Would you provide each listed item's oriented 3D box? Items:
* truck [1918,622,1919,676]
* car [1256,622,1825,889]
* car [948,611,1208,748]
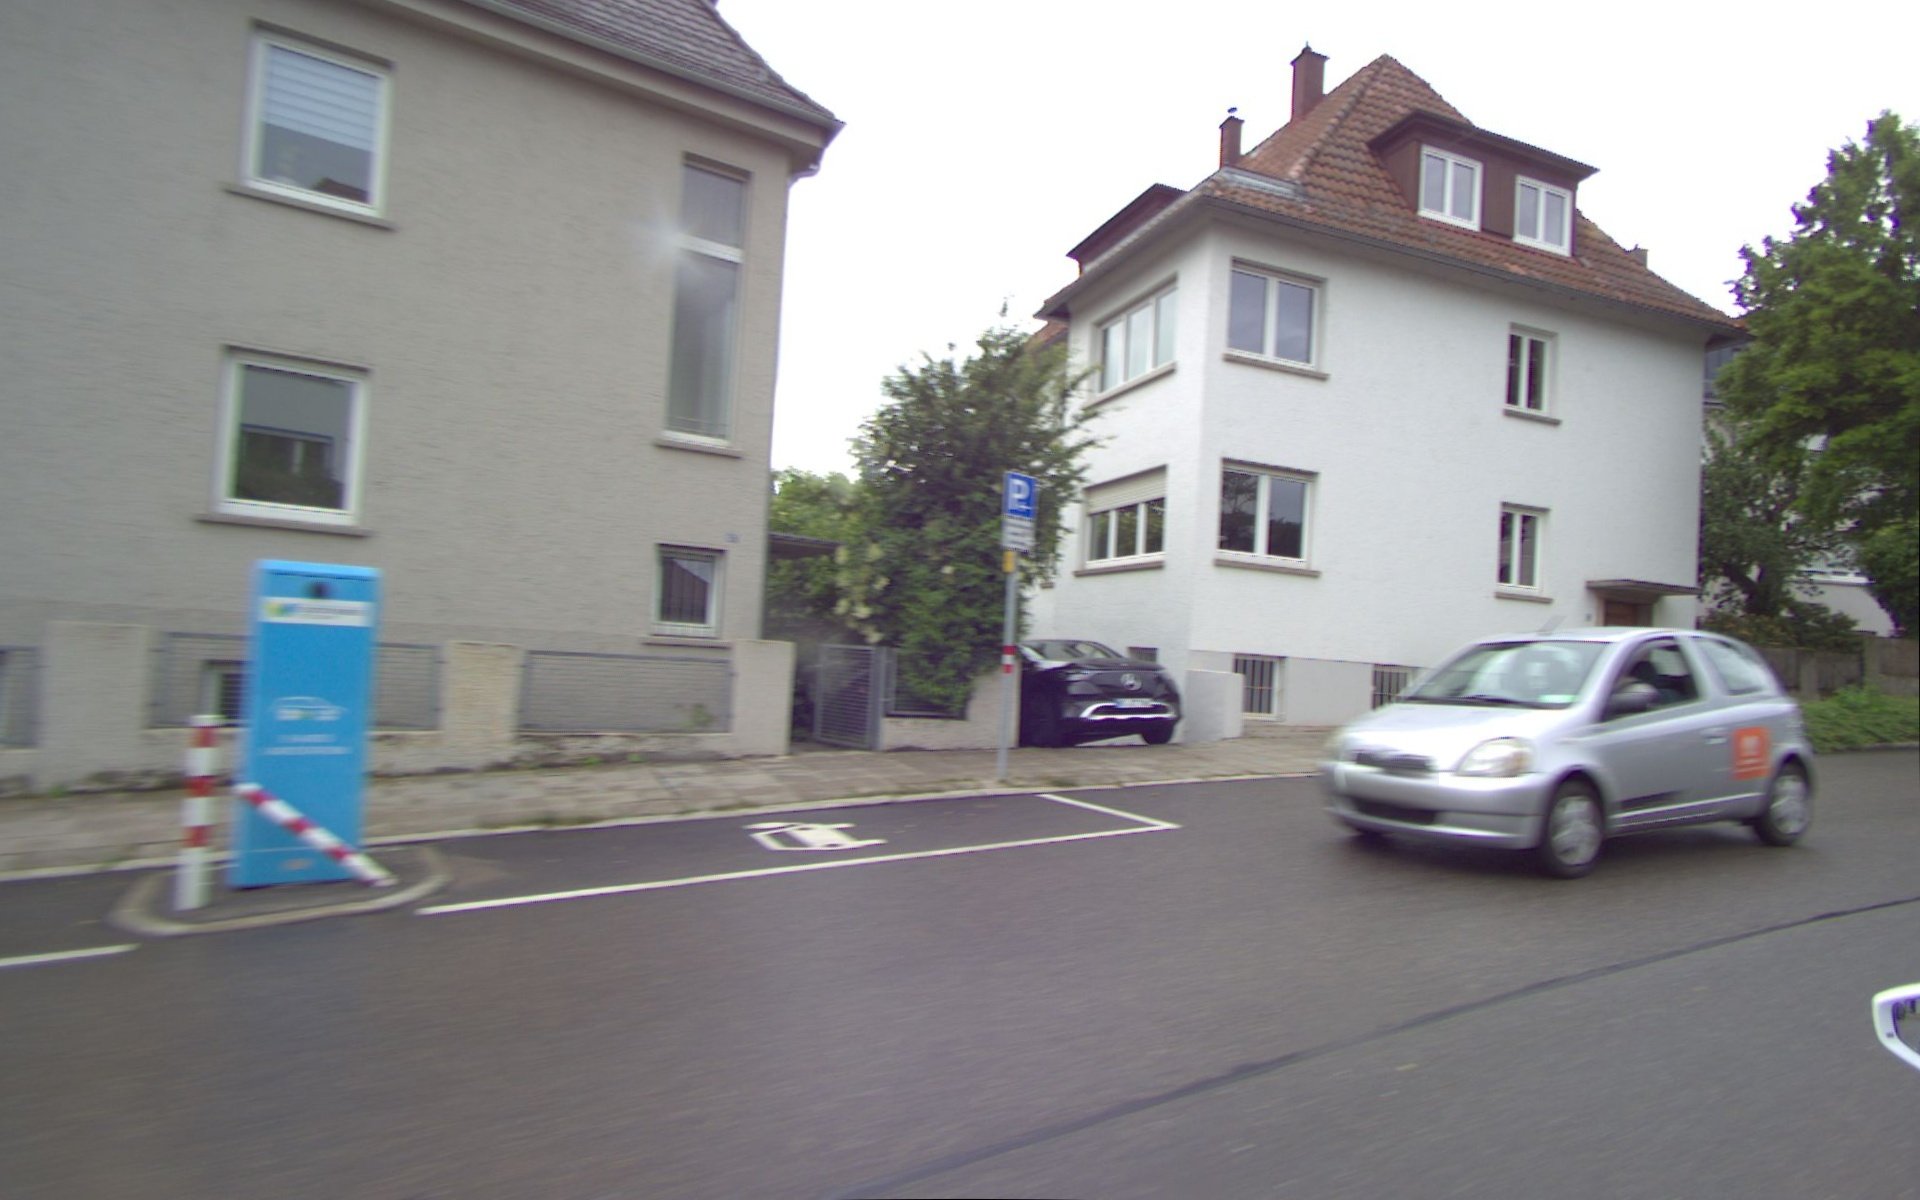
[{"bbox_3d":[40.430,1.995,37.752,2.269,2.299,6.809,3,0,0],"label":"truck"},{"bbox_3d":[4.044,0.941,6.950,3.804,1.441,1.483,2,-4,-25],"label":"car"},{"bbox_3d":[1.461,1.252,14.361,1.970,1.643,4.239,2,-8,-20],"label":"car"}]
